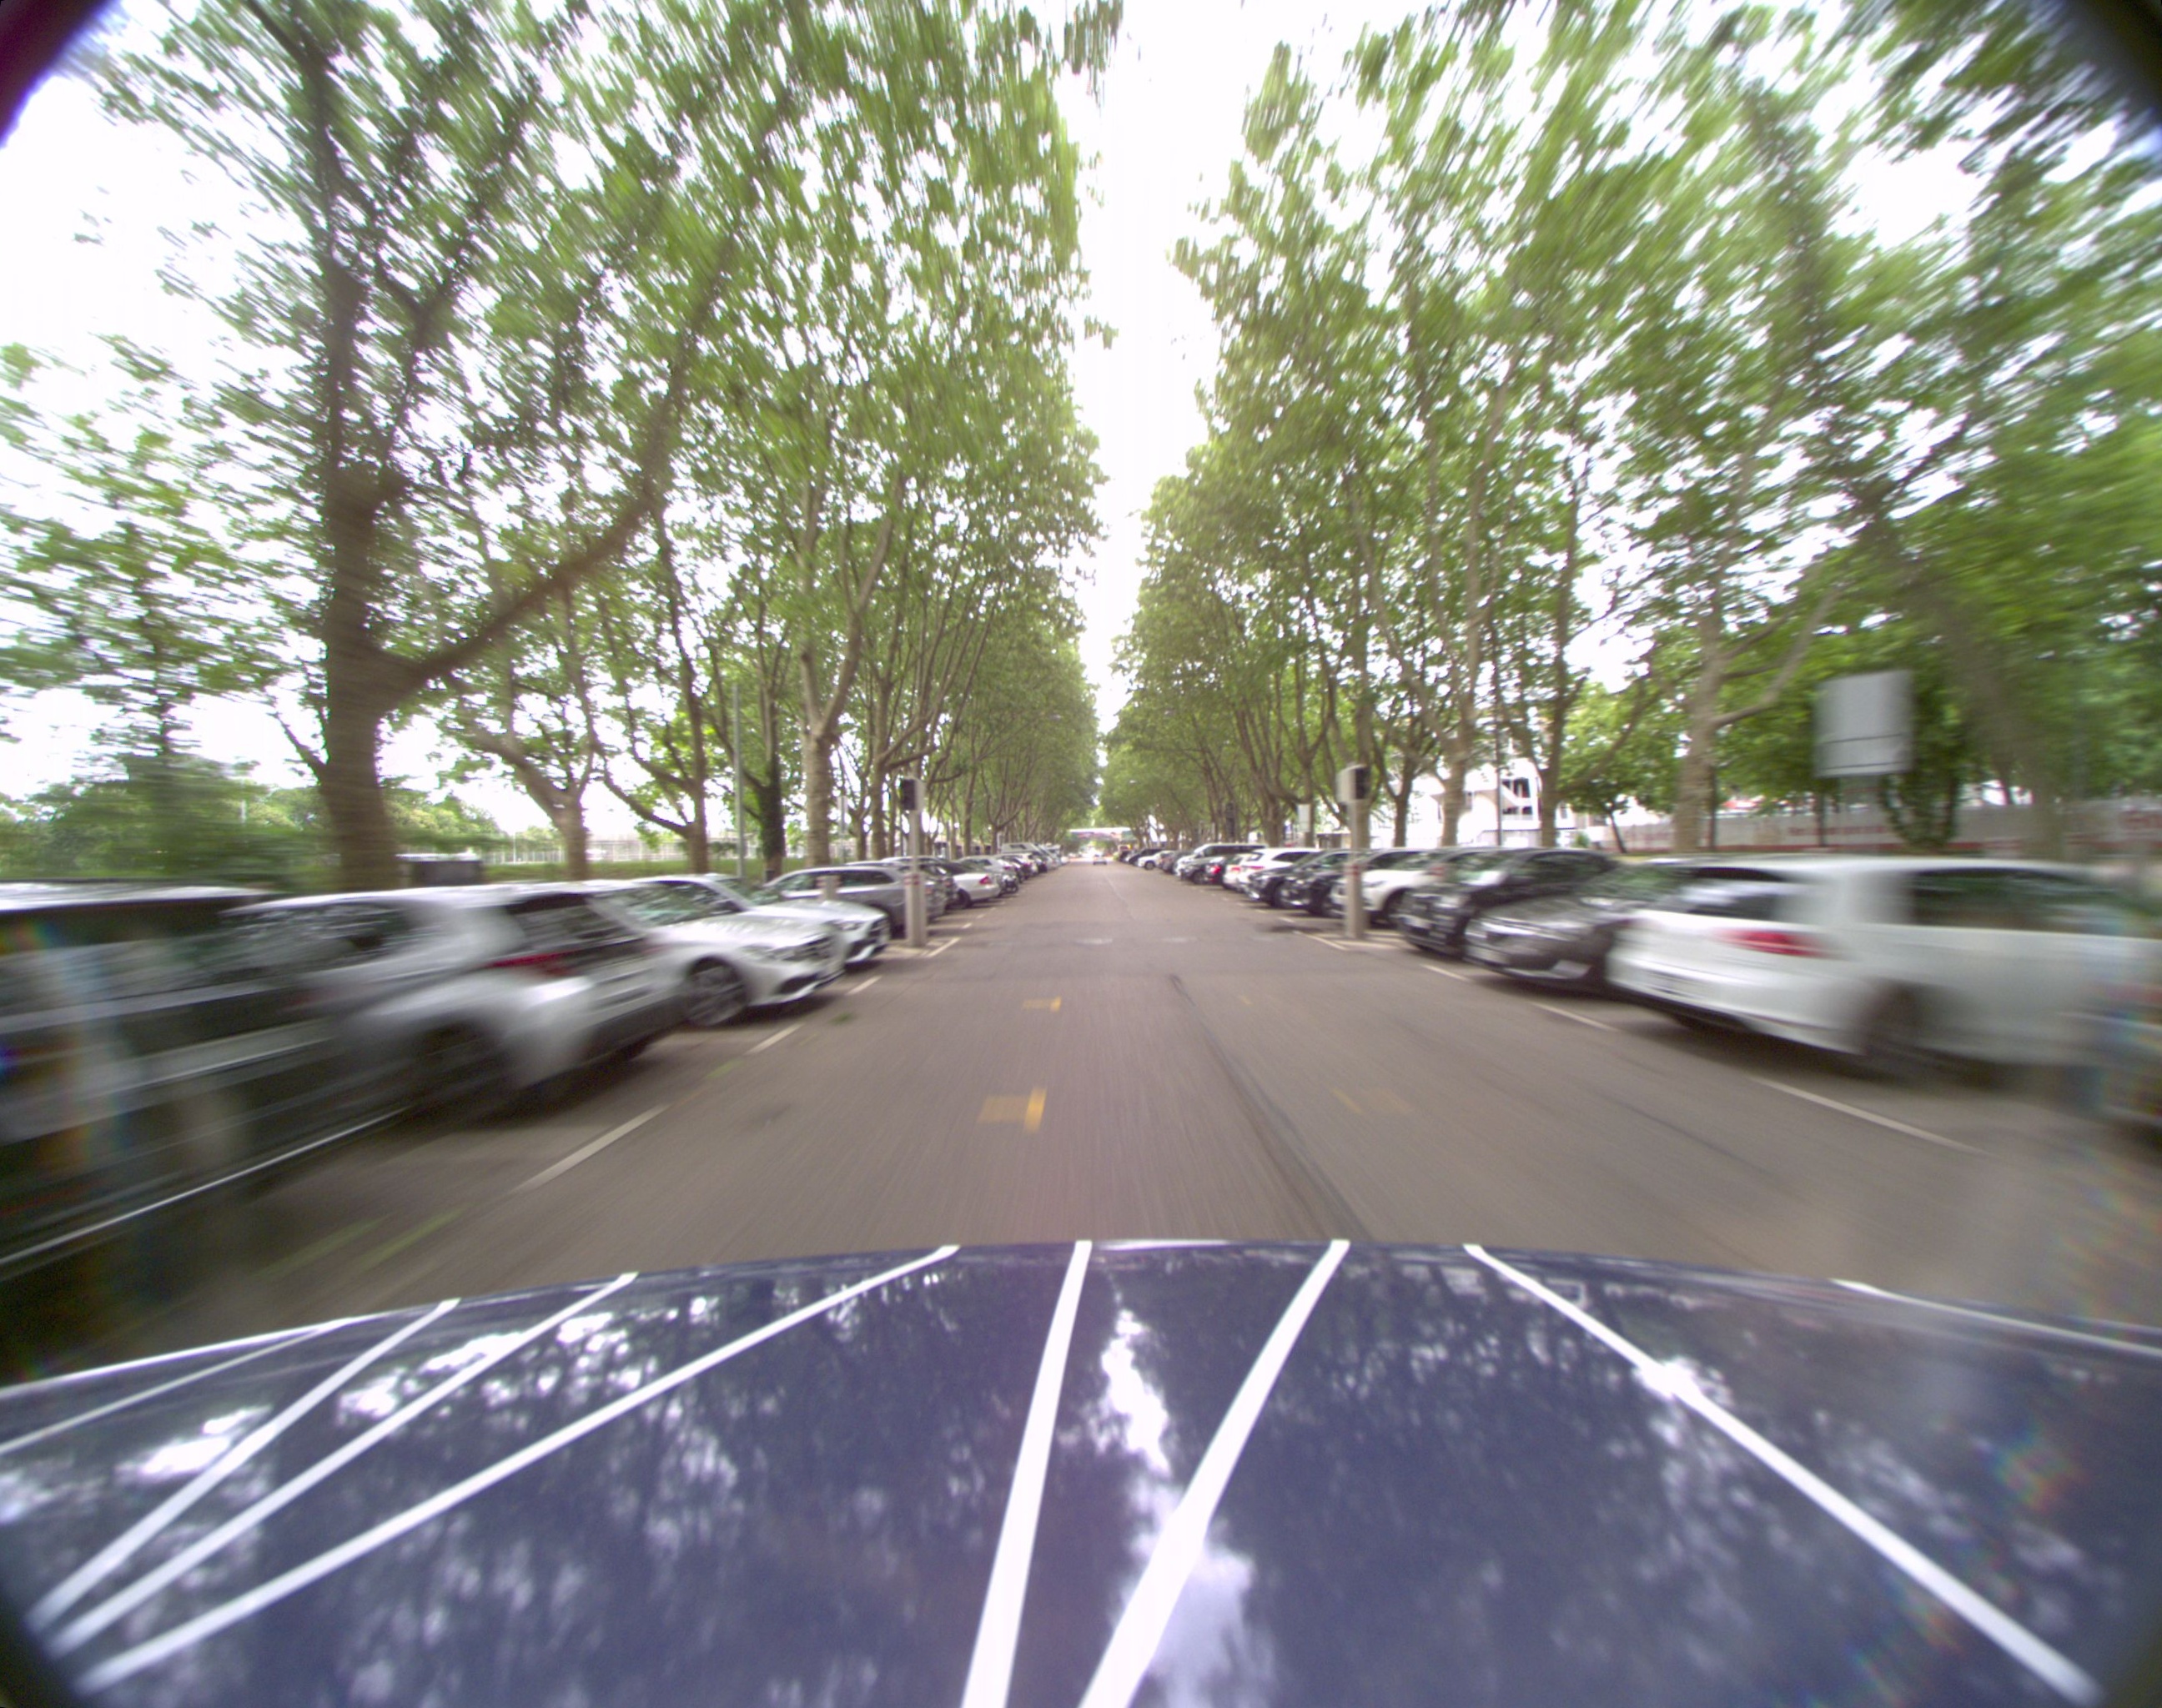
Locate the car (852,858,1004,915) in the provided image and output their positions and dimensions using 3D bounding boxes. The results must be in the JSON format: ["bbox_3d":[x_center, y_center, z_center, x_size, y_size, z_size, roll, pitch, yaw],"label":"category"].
[{"bbox_3d":[-4.499,0.945,22.742,4.123,1.461,1.694,-3,0,1],"label":"car"}]

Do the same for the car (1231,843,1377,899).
[{"bbox_3d":[6.650,0.488,22.947,3.837,1.618,1.952,0,0,-2],"label":"car"}]

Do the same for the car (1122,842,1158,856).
[{"bbox_3d":[8.200,-0.760,106.487,4.917,1.913,2.208,0,0,1],"label":"car"}]

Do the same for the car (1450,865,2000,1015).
[{"bbox_3d":[6.478,0.811,7.969,4.413,1.357,1.694,0,0,-2],"label":"car"}]

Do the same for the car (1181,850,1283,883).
[{"bbox_3d":[6.894,0.557,35.079,4.458,1.444,1.775,0,0,4],"label":"car"}]

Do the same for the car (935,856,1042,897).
[{"bbox_3d":[-3.649,0.885,30.228,3.833,1.447,1.696,-3,0,12],"label":"car"}]

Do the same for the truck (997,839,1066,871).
[{"bbox_3d":[-4.725,0.106,72.999,6.308,2.699,2.098,-3,0,2],"label":"truck"}]

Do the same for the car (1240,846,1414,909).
[{"bbox_3d":[6.445,0.609,20.245,4.077,1.598,1.799,0,0,3],"label":"car"}]

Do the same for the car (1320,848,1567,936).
[{"bbox_3d":[7.001,0.698,14.942,4.054,1.599,1.694,0,1,-2],"label":"car"}]

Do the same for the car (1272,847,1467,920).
[{"bbox_3d":[6.615,0.654,17.721,3.837,1.598,1.834,0,0,-2],"label":"car"}]

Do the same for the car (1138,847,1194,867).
[{"bbox_3d":[7.028,0.245,63.167,4.391,1.587,2.000,0,0,-1],"label":"car"}]

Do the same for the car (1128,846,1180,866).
[{"bbox_3d":[7.804,0.186,81.442,5.450,2.115,1.940,0,0,-1],"label":"car"}]

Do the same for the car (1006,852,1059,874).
[{"bbox_3d":[-3.990,0.733,62.592,4.129,1.420,1.703,-5,1,2],"label":"car"}]

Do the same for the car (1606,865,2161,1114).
[{"bbox_3d":[6.177,0.801,5.348,3.837,1.421,1.694,0,0,-2],"label":"car"}]

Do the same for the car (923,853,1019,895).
[{"bbox_3d":[-4.672,0.846,32.671,3.837,1.598,1.694,-3,0,-1],"label":"car"}]

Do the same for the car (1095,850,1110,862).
[{"bbox_3d":[2.731,0.221,96.569,1.693,1.462,3.839,0,0,-1],"label":"car"}]

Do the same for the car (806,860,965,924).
[{"bbox_3d":[-5.206,0.995,20.560,3.785,1.461,1.624,-3,0,2],"label":"car"}]

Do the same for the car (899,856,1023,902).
[{"bbox_3d":[-4.314,0.886,27.724,4.222,1.443,1.610,-3,0,-1],"label":"car"}]

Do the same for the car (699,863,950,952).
[{"bbox_3d":[-4.981,1.016,15.157,4.377,1.461,1.624,-3,0,0],"label":"car"}]

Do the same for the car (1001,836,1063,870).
[{"bbox_3d":[-4.332,-0.071,67.809,5.241,2.673,1.957,-3,0,1],"label":"car"}]

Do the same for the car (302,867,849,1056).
[{"bbox_3d":[-4.779,0.974,7.681,4.309,1.461,1.623,-3,0,-3],"label":"car"}]

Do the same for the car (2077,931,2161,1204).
[{"bbox_3d":[6.524,0.968,2.973,3.325,1.196,1.584,0,0,-3],"label":"car"}]

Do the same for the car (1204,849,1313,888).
[{"bbox_3d":[7.080,0.566,30.475,4.006,1.463,1.537,-1,0,0],"label":"car"}]

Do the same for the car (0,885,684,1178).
[{"bbox_3d":[-5.074,1.063,5.185,3.786,1.461,1.623,-3,0,-3],"label":"car"}]

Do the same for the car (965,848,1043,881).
[{"bbox_3d":[-4.605,0.626,45.822,4.394,1.745,1.801,-3,0,3],"label":"car"}]

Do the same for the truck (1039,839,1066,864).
[{"bbox_3d":[-3.633,-0.258,95.640,2.466,2.920,7.533,-3,0,-8],"label":"truck"}]

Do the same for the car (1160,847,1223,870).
[{"bbox_3d":[7.569,0.304,52.276,3.997,1.467,1.842,1,0,-1],"label":"car"}]

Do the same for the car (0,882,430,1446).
[{"bbox_3d":[-5.097,1.018,2.738,3.786,1.588,1.820,-3,0,-3],"label":"car"}]

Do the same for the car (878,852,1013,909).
[{"bbox_3d":[-4.459,0.851,25.430,4.123,1.660,1.694,-3,0,1],"label":"car"}]

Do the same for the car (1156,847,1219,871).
[{"bbox_3d":[7.757,0.330,55.600,4.352,1.658,2.000,1,0,-1],"label":"car"}]

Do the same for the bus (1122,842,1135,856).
[{"bbox_3d":[10.843,-1.178,175.201,2.658,3.136,12.370,1,0,2],"label":"bus"}]

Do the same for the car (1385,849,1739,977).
[{"bbox_3d":[6.455,0.741,10.480,3.837,1.598,1.694,0,0,-2],"label":"car"}]

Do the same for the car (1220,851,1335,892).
[{"bbox_3d":[7.212,0.627,28.169,3.765,1.466,1.864,0,0,-1],"label":"car"}]

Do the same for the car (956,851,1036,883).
[{"bbox_3d":[-4.432,0.658,40.227,3.997,1.477,1.694,-3,0,-1],"label":"car"}]

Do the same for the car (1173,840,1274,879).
[{"bbox_3d":[7.470,0.285,40.136,4.907,2.007,1.919,0,1,-3],"label":"car"}]

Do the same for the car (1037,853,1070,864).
[{"bbox_3d":[-3.664,0.580,102.711,4.330,1.294,1.700,-3,0,1],"label":"car"}]

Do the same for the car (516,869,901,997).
[{"bbox_3d":[-5.101,1.059,10.767,4.625,1.461,1.650,-3,0,4],"label":"car"}]

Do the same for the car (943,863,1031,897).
[{"bbox_3d":[-4.350,1.190,35.441,3.837,1.380,1.694,-3,0,-1],"label":"car"}]

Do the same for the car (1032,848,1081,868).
[{"bbox_3d":[-3.694,0.554,114.469,6.906,2.679,2.125,-3,0,-14],"label":"car"}]

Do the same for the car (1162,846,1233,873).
[{"bbox_3d":[7.641,0.361,50.233,4.352,1.658,2.000,1,0,-1],"label":"car"}]

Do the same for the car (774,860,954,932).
[{"bbox_3d":[-5.111,0.974,18.255,3.785,1.461,1.667,-3,0,0],"label":"car"}]

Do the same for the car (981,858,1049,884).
[{"bbox_3d":[-4.524,1.149,52.408,4.514,1.517,1.703,-3,0,-1],"label":"car"}]
